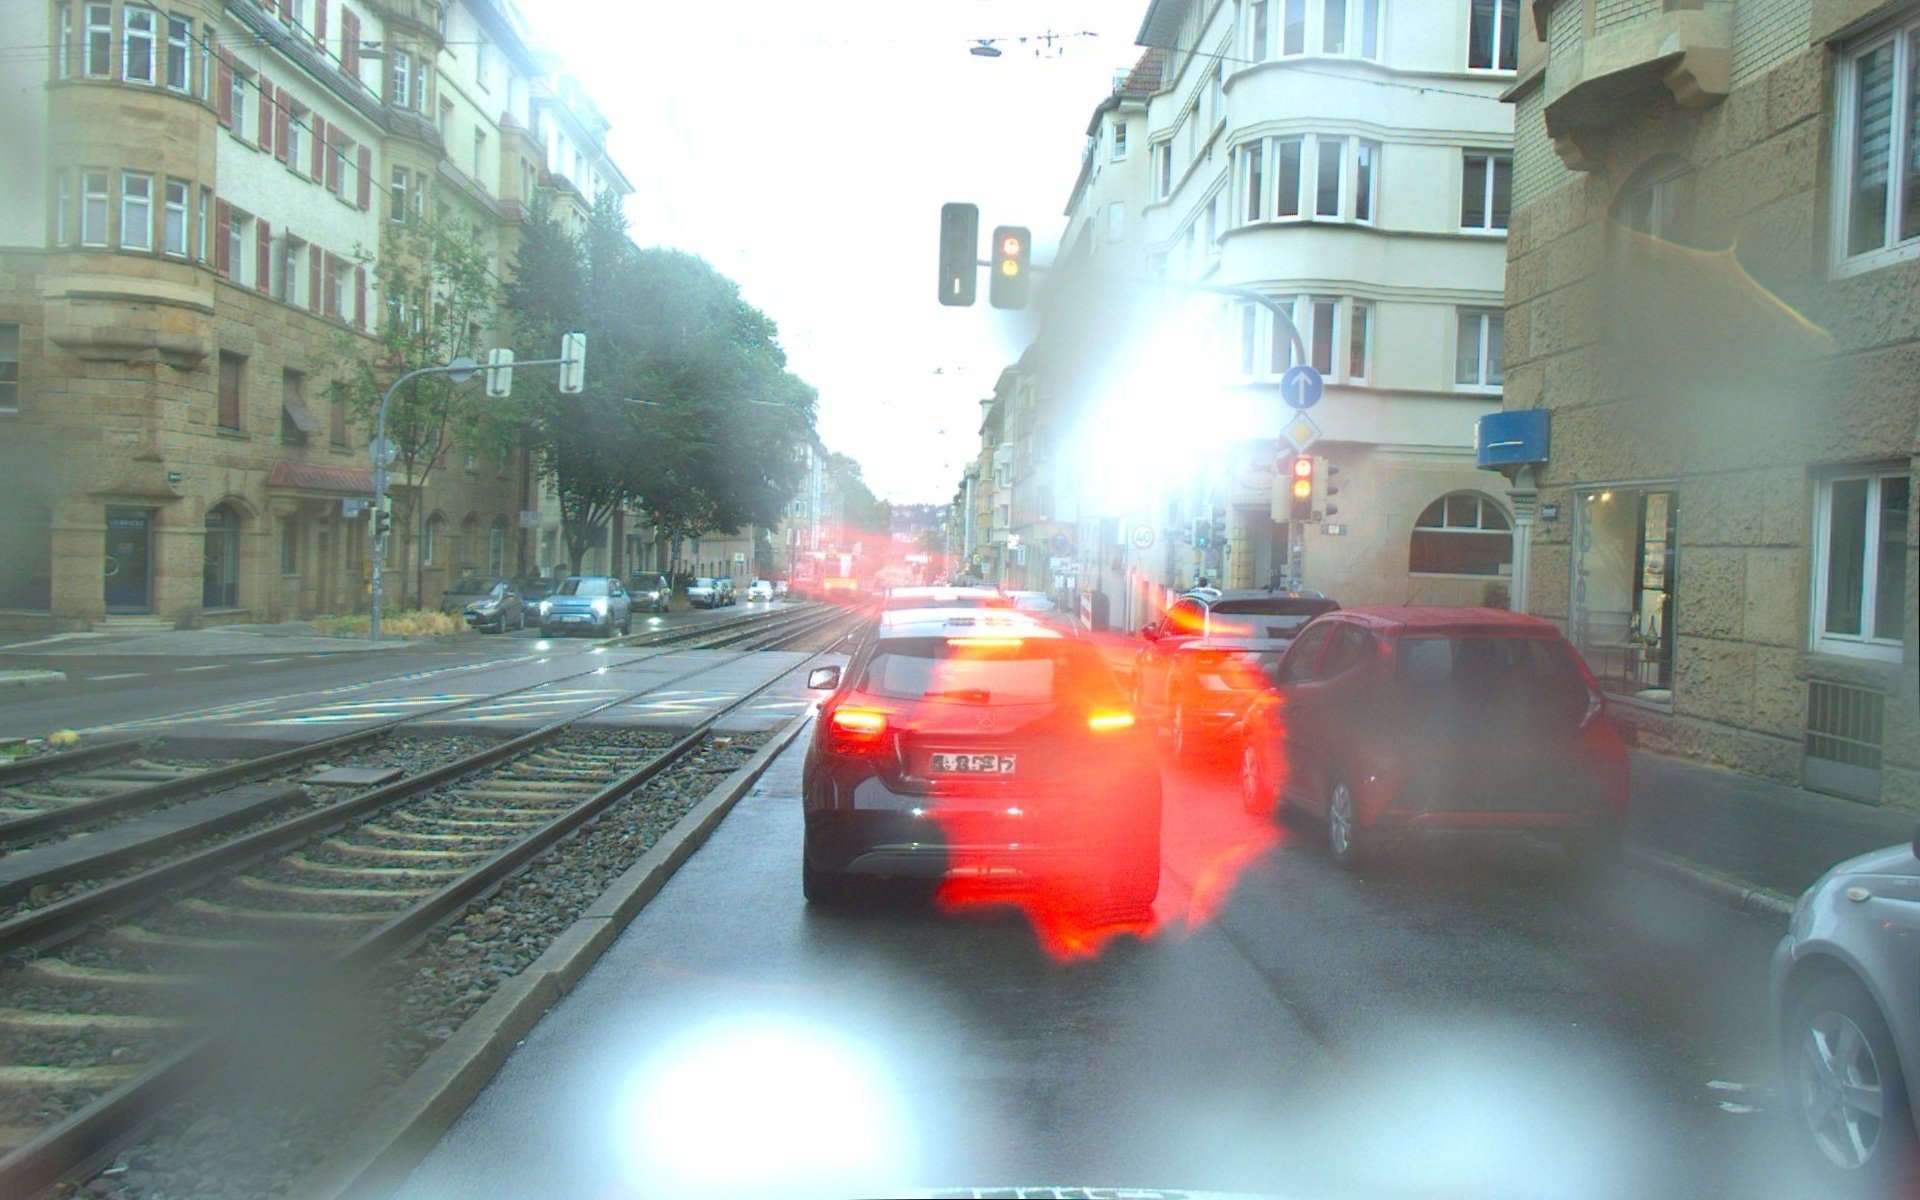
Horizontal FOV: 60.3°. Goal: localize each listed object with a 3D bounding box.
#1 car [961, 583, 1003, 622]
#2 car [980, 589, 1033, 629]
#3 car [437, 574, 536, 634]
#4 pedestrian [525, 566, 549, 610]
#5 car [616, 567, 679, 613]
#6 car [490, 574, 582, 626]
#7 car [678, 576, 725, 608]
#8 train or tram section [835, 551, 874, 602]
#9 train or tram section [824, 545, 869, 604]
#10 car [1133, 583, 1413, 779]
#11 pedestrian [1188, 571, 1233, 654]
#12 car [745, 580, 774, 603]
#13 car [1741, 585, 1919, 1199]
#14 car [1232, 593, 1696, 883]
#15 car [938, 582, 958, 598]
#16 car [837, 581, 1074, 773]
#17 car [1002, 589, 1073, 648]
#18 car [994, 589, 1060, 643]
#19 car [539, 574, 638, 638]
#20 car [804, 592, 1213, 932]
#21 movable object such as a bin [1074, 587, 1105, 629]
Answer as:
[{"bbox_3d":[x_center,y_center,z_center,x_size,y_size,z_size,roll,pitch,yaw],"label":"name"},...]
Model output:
[{"bbox_3d":[1.000,0.122,74.368,1.803,1.636,4.761,1,0,1],"label":"car"},{"bbox_3d":[1.718,0.320,61.910,1.753,1.410,4.394,1,0,-1],"label":"car"},{"bbox_3d":[-12.950,0.111,45.478,1.656,1.556,4.173,1,0,-3],"label":"car"},{"bbox_3d":[-16.578,-0.467,64.858,0.713,1.692,0.770,2,0,-2],"label":"pedestrian"},{"bbox_3d":[-13.533,-0.466,71.911,1.914,1.772,4.777,4,1,-3],"label":"car"},{"bbox_3d":[-13.012,0.014,51.033,1.745,1.485,4.976,1,0,-3],"label":"car"},{"bbox_3d":[-13.919,-0.435,89.237,1.922,1.633,4.327,2,1,-2],"label":"car"},{"bbox_3d":[-8.963,-2.007,142.093,2.690,4.132,15.656,1,1,-2],"label":"train or tram section"},{"bbox_3d":[-8.514,-1.916,125.841,2.690,4.132,17.208,1,1,-2],"label":"train or tram section"},{"bbox_3d":[2.823,0.672,15.800,1.830,1.576,3.990,2,0,-1],"label":"car"},{"bbox_3d":[5.294,0.268,35.013,0.788,1.717,0.754,1,-1,-2],"label":"pedestrian"},{"bbox_3d":[-14.179,-0.595,117.029,1.745,1.529,4.060,1,0,-3],"label":"car"},{"bbox_3d":[3.076,0.732,3.063,1.562,1.513,3.521,0,0,-1],"label":"car"},{"bbox_3d":[2.972,0.730,10.530,1.672,1.478,3.530,2,0,-3],"label":"car"},{"bbox_3d":[-1.214,-0.969,167.373,1.848,1.552,4.246,2,0,1],"label":"car"},{"bbox_3d":[-0.070,0.642,16.103,1.953,1.552,4.245,2,0,-1],"label":"car"},{"bbox_3d":[2.000,0.477,43.628,1.675,1.435,4.817,1,0,1],"label":"car"},{"bbox_3d":[1.949,0.455,48.994,1.677,1.493,4.773,1,0,-1],"label":"car"},{"bbox_3d":[-10.019,0.165,44.837,1.883,1.646,4.126,1,0,-3],"label":"car"},{"bbox_3d":[0.190,0.718,9.323,1.797,1.478,3.901,1,0,-1],"label":"car"},{"bbox_3d":[4.692,0.287,59.867,0.960,1.494,1.272,1,0,-2],"label":"movable object such as a bin"}]
